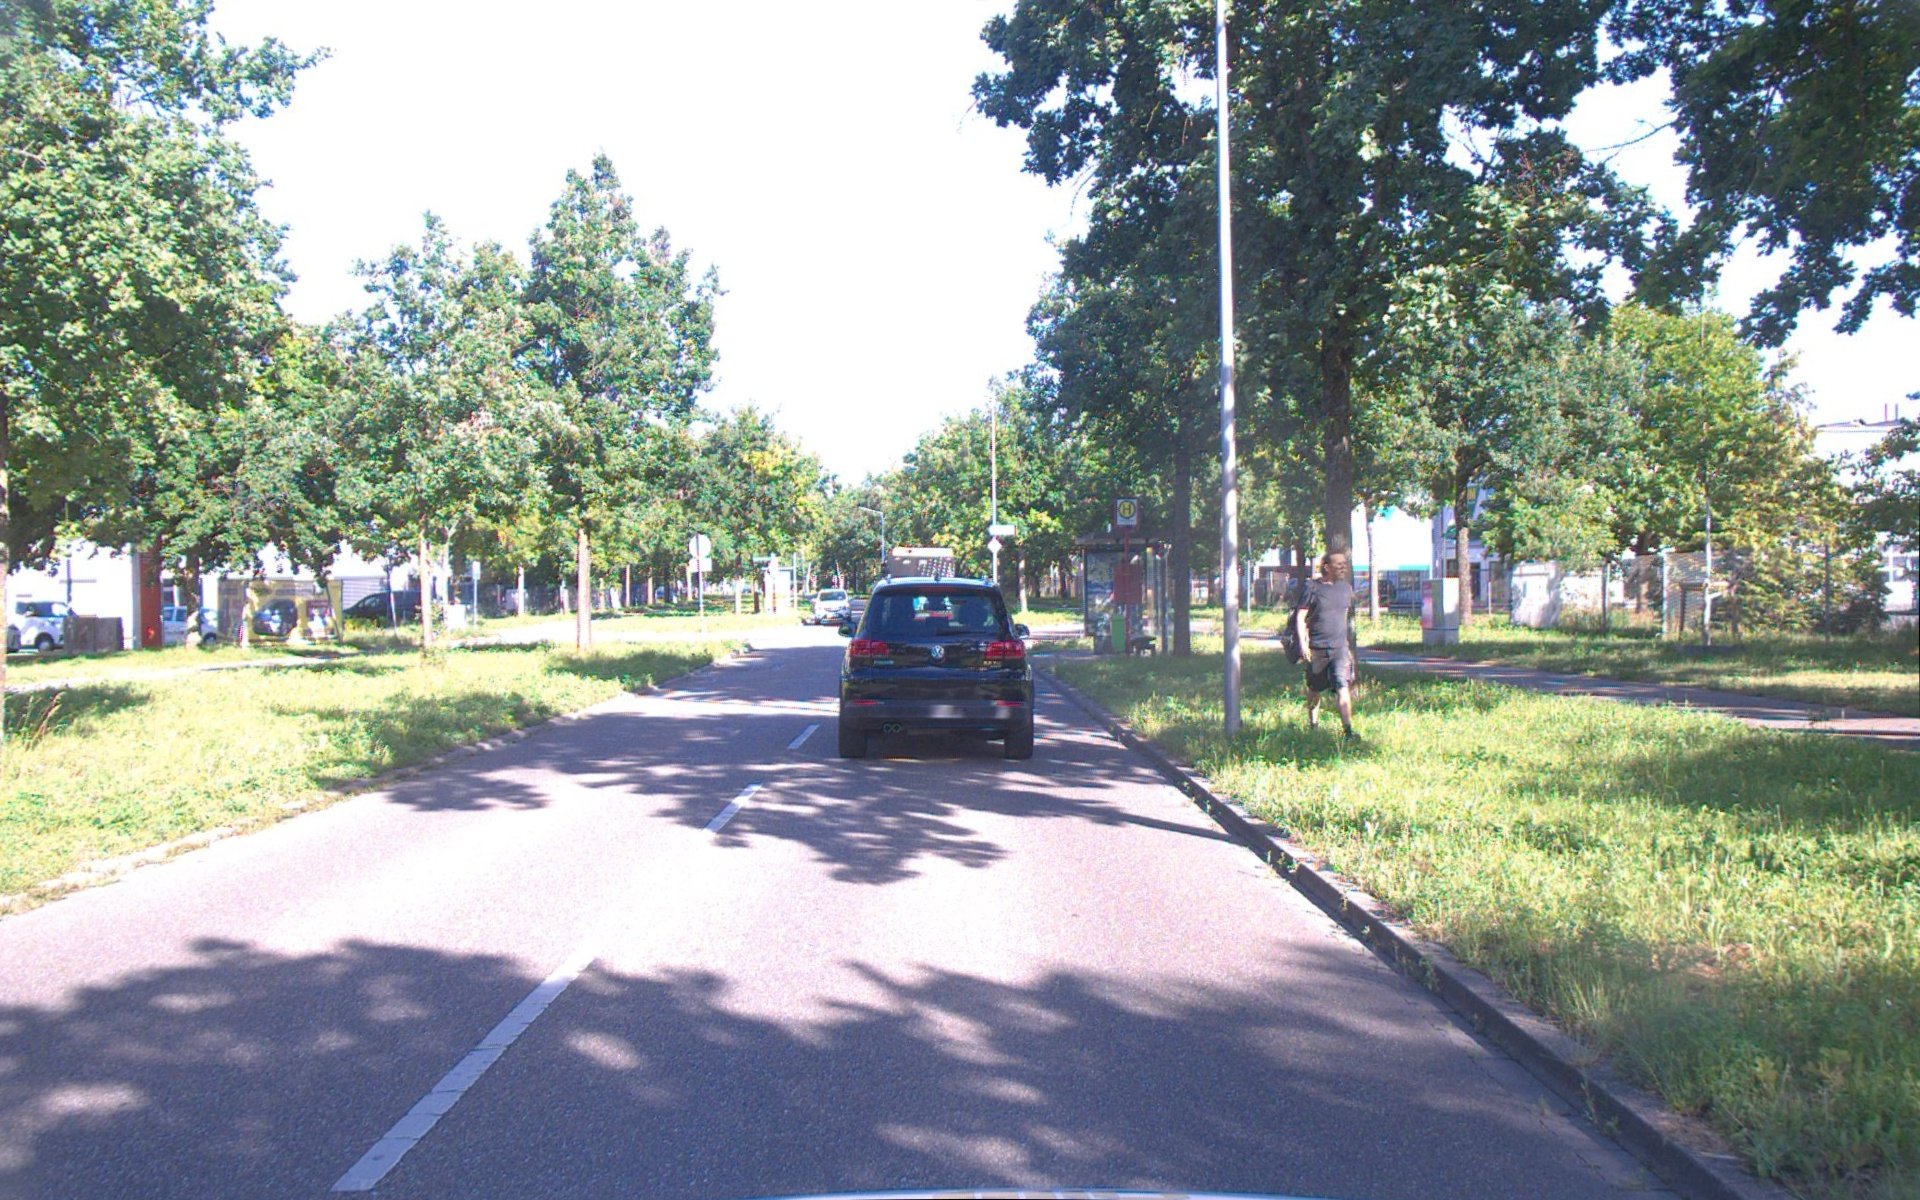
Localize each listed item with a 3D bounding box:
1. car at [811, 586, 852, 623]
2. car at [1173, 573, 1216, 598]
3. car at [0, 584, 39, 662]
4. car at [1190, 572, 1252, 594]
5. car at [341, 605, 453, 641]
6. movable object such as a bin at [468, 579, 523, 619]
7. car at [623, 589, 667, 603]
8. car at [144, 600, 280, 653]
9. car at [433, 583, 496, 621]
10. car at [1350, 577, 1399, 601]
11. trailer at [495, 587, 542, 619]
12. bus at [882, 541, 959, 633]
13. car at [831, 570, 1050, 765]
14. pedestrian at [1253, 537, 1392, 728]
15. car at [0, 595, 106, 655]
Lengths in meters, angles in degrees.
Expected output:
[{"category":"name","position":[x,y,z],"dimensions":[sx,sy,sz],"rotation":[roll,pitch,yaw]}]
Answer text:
[{"category":"car","position":[-5.615,0.188,72.080],"dimensions":[1.710,1.490,4.422],"rotation":[-2,1,-5]},{"category":"car","position":[17.258,-1.043,121.909],"dimensions":[2.142,1.774,4.636],"rotation":[-1,1,-6]},{"category":"car","position":[-27.208,0.663,43.590],"dimensions":[4.819,2.049,1.969],"rotation":[-2,1,-43]},{"category":"car","position":[21.404,-1.392,135.691],"dimensions":[4.543,1.774,2.186],"rotation":[-1,1,-11]},{"category":"car","position":[-25.656,1.041,75.486],"dimensions":[4.406,1.505,1.942],"rotation":[-1,0,3]},{"category":"movable object such as a bin","position":[-27.162,-0.061,96.793],"dimensions":[2.060,2.255,4.458],"rotation":[-1,1,-2]},{"category":"car","position":[-32.501,-0.400,170.755],"dimensions":[4.112,1.344,1.941],"rotation":[-1,1,1]},{"category":"car","position":[-24.717,0.870,54.711],"dimensions":[3.662,1.646,1.965],"rotation":[-1,0,14]},{"category":"car","position":[-27.188,0.084,90.936],"dimensions":[1.995,2.023,5.802],"rotation":[-1,0,-4]},{"category":"car","position":[25.208,-0.678,100.731],"dimensions":[1.731,1.408,3.763],"rotation":[-1,1,-6]},{"category":"trailer","position":[-27.698,0.163,103.906],"dimensions":[2.060,1.948,3.739],"rotation":[-1,1,-3]},{"category":"bus","position":[-1.763,-0.566,69.100],"dimensions":[2.710,3.517,11.202],"rotation":[-1,1,-4]},{"category":"car","position":[-0.200,0.554,16.629],"dimensions":[1.896,1.685,4.426],"rotation":[0,1,-1]},{"category":"pedestrian","position":[3.317,0.282,15.242],"dimensions":[0.999,1.680,1.099],"rotation":[-1,0,-1]},{"category":"car","position":[-31.744,0.861,56.084],"dimensions":[4.903,1.939,1.943],"rotation":[-1,0,15]}]
